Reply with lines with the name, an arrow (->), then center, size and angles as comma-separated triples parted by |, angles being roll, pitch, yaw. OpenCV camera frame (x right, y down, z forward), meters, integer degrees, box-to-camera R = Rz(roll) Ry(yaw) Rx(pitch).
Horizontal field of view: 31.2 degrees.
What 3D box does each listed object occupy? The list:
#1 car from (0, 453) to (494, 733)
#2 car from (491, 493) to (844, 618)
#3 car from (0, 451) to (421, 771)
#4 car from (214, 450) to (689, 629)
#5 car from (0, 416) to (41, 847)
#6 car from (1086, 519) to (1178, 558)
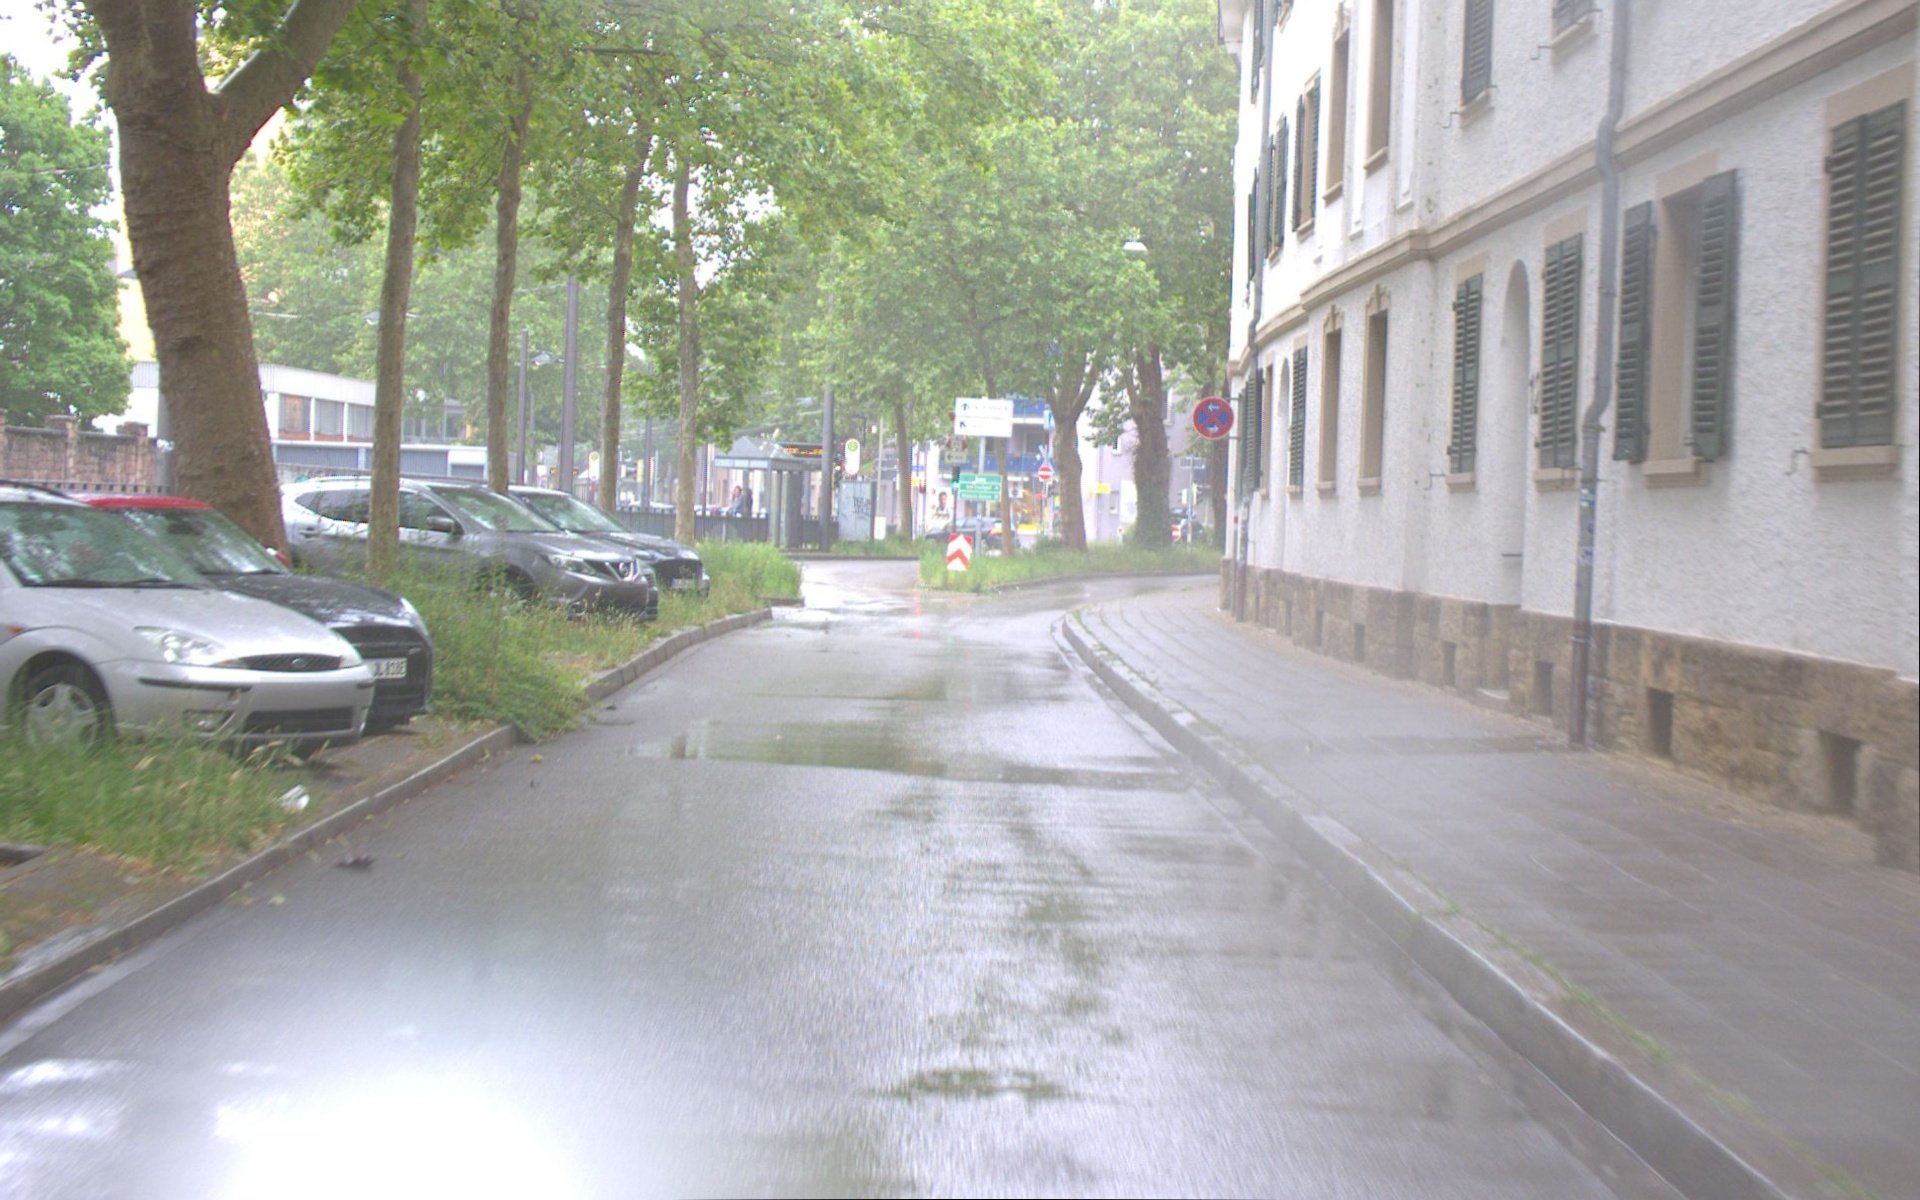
car -> -4.832, -0.099, 20.524 | 3.812, 1.515, 1.719 | 2, 2, 31
car -> -3.911, -0.630, 45.812 | 4.358, 1.507, 1.957 | 2, 4, 31
car -> -5.168, -0.026, 17.855 | 4.554, 1.477, 1.772 | 2, 2, 30
car -> -5.223, -0.649, 35.240 | 4.465, 1.591, 1.920 | 3, 3, 26
car -> -5.260, 0.066, 12.166 | 3.780, 1.477, 1.719 | 2, 2, 31
car -> 8.106, -2.894, 161.862 | 3.989, 1.591, 1.999 | 2, 2, -43
